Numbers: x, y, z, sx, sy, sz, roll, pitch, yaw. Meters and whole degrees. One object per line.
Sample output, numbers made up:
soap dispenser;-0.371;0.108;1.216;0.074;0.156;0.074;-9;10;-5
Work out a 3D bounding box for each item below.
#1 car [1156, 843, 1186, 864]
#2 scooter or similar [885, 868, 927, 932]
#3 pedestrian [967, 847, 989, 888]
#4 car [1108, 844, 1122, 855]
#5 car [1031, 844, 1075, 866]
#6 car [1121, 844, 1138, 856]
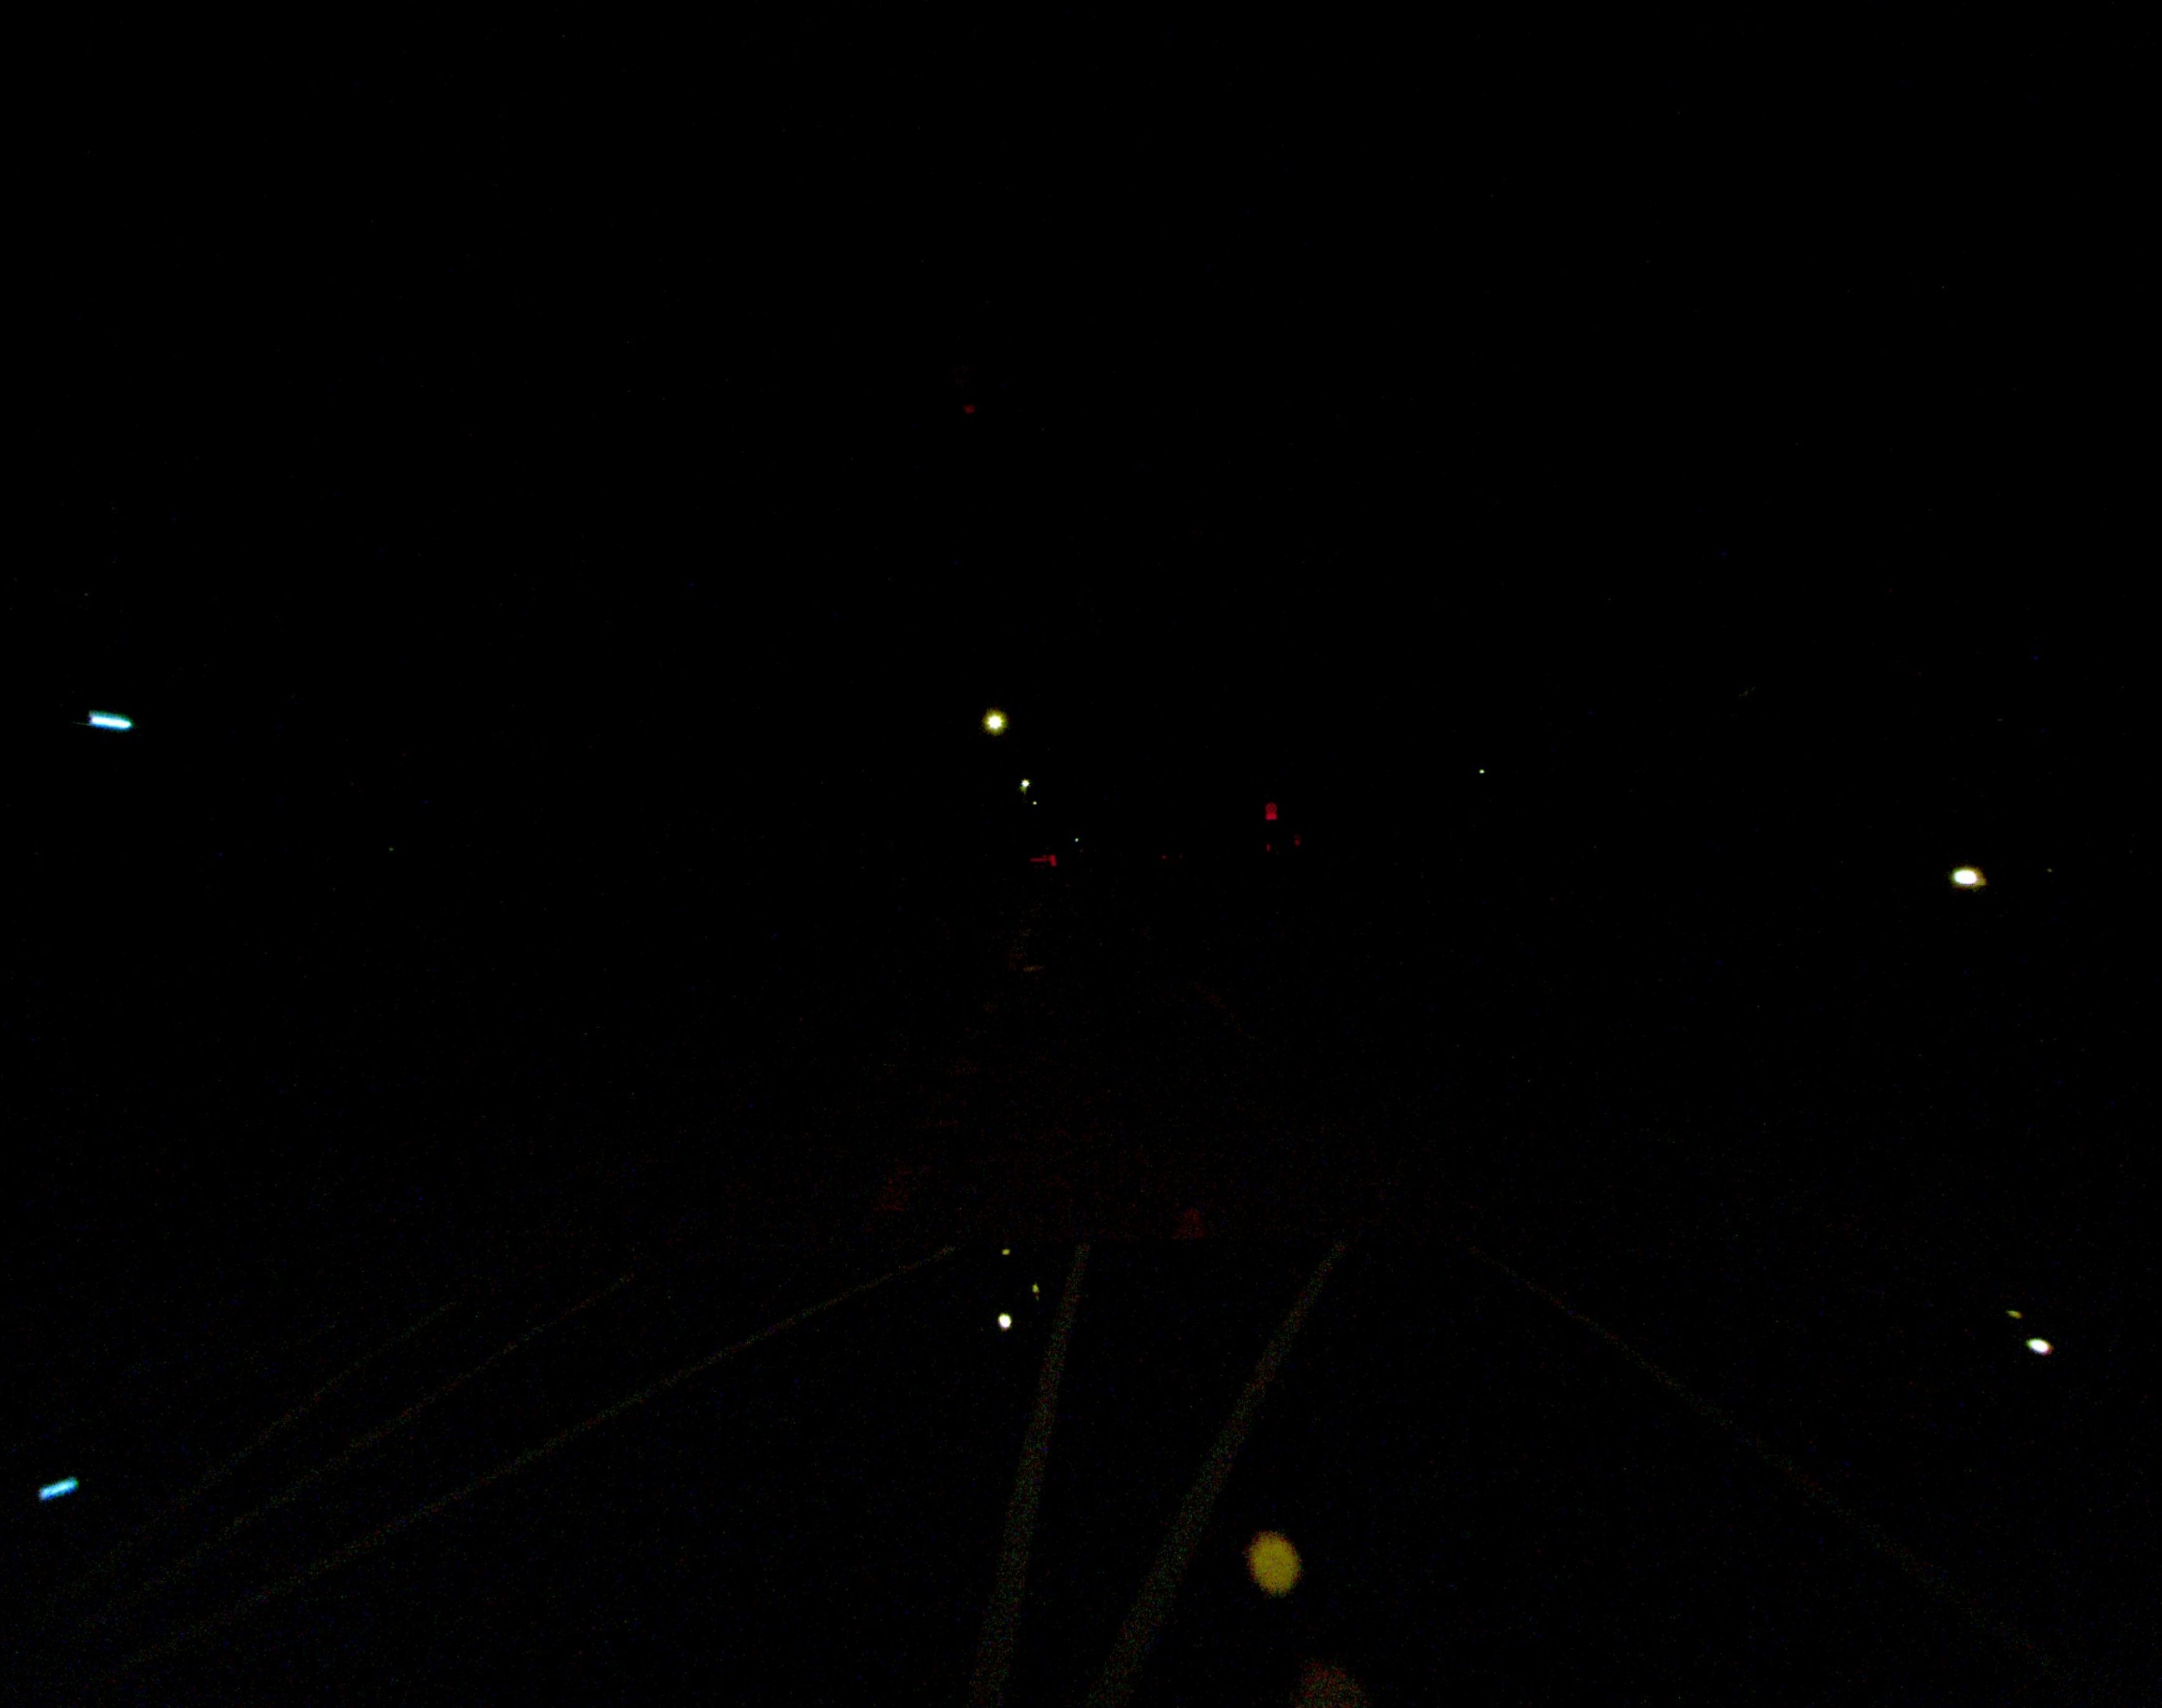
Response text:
car;7.220;-0.039;61.021;1.911;1.445;3.999;-3;2;1
scooter or similar;-3.734;0.963;16.316;0.570;1.271;1.391;0;0;0
pedestrian;-4.762;0.622;35.186;0.824;1.809;0.608;-3;2;1
car;5.185;-0.716;116.510;1.911;1.445;3.999;-3;2;1
car;-2.570;0.076;70.794;3.997;1.821;1.911;-2;4;0
car;6.374;-0.539;100.436;1.911;1.445;3.999;-3;2;1
